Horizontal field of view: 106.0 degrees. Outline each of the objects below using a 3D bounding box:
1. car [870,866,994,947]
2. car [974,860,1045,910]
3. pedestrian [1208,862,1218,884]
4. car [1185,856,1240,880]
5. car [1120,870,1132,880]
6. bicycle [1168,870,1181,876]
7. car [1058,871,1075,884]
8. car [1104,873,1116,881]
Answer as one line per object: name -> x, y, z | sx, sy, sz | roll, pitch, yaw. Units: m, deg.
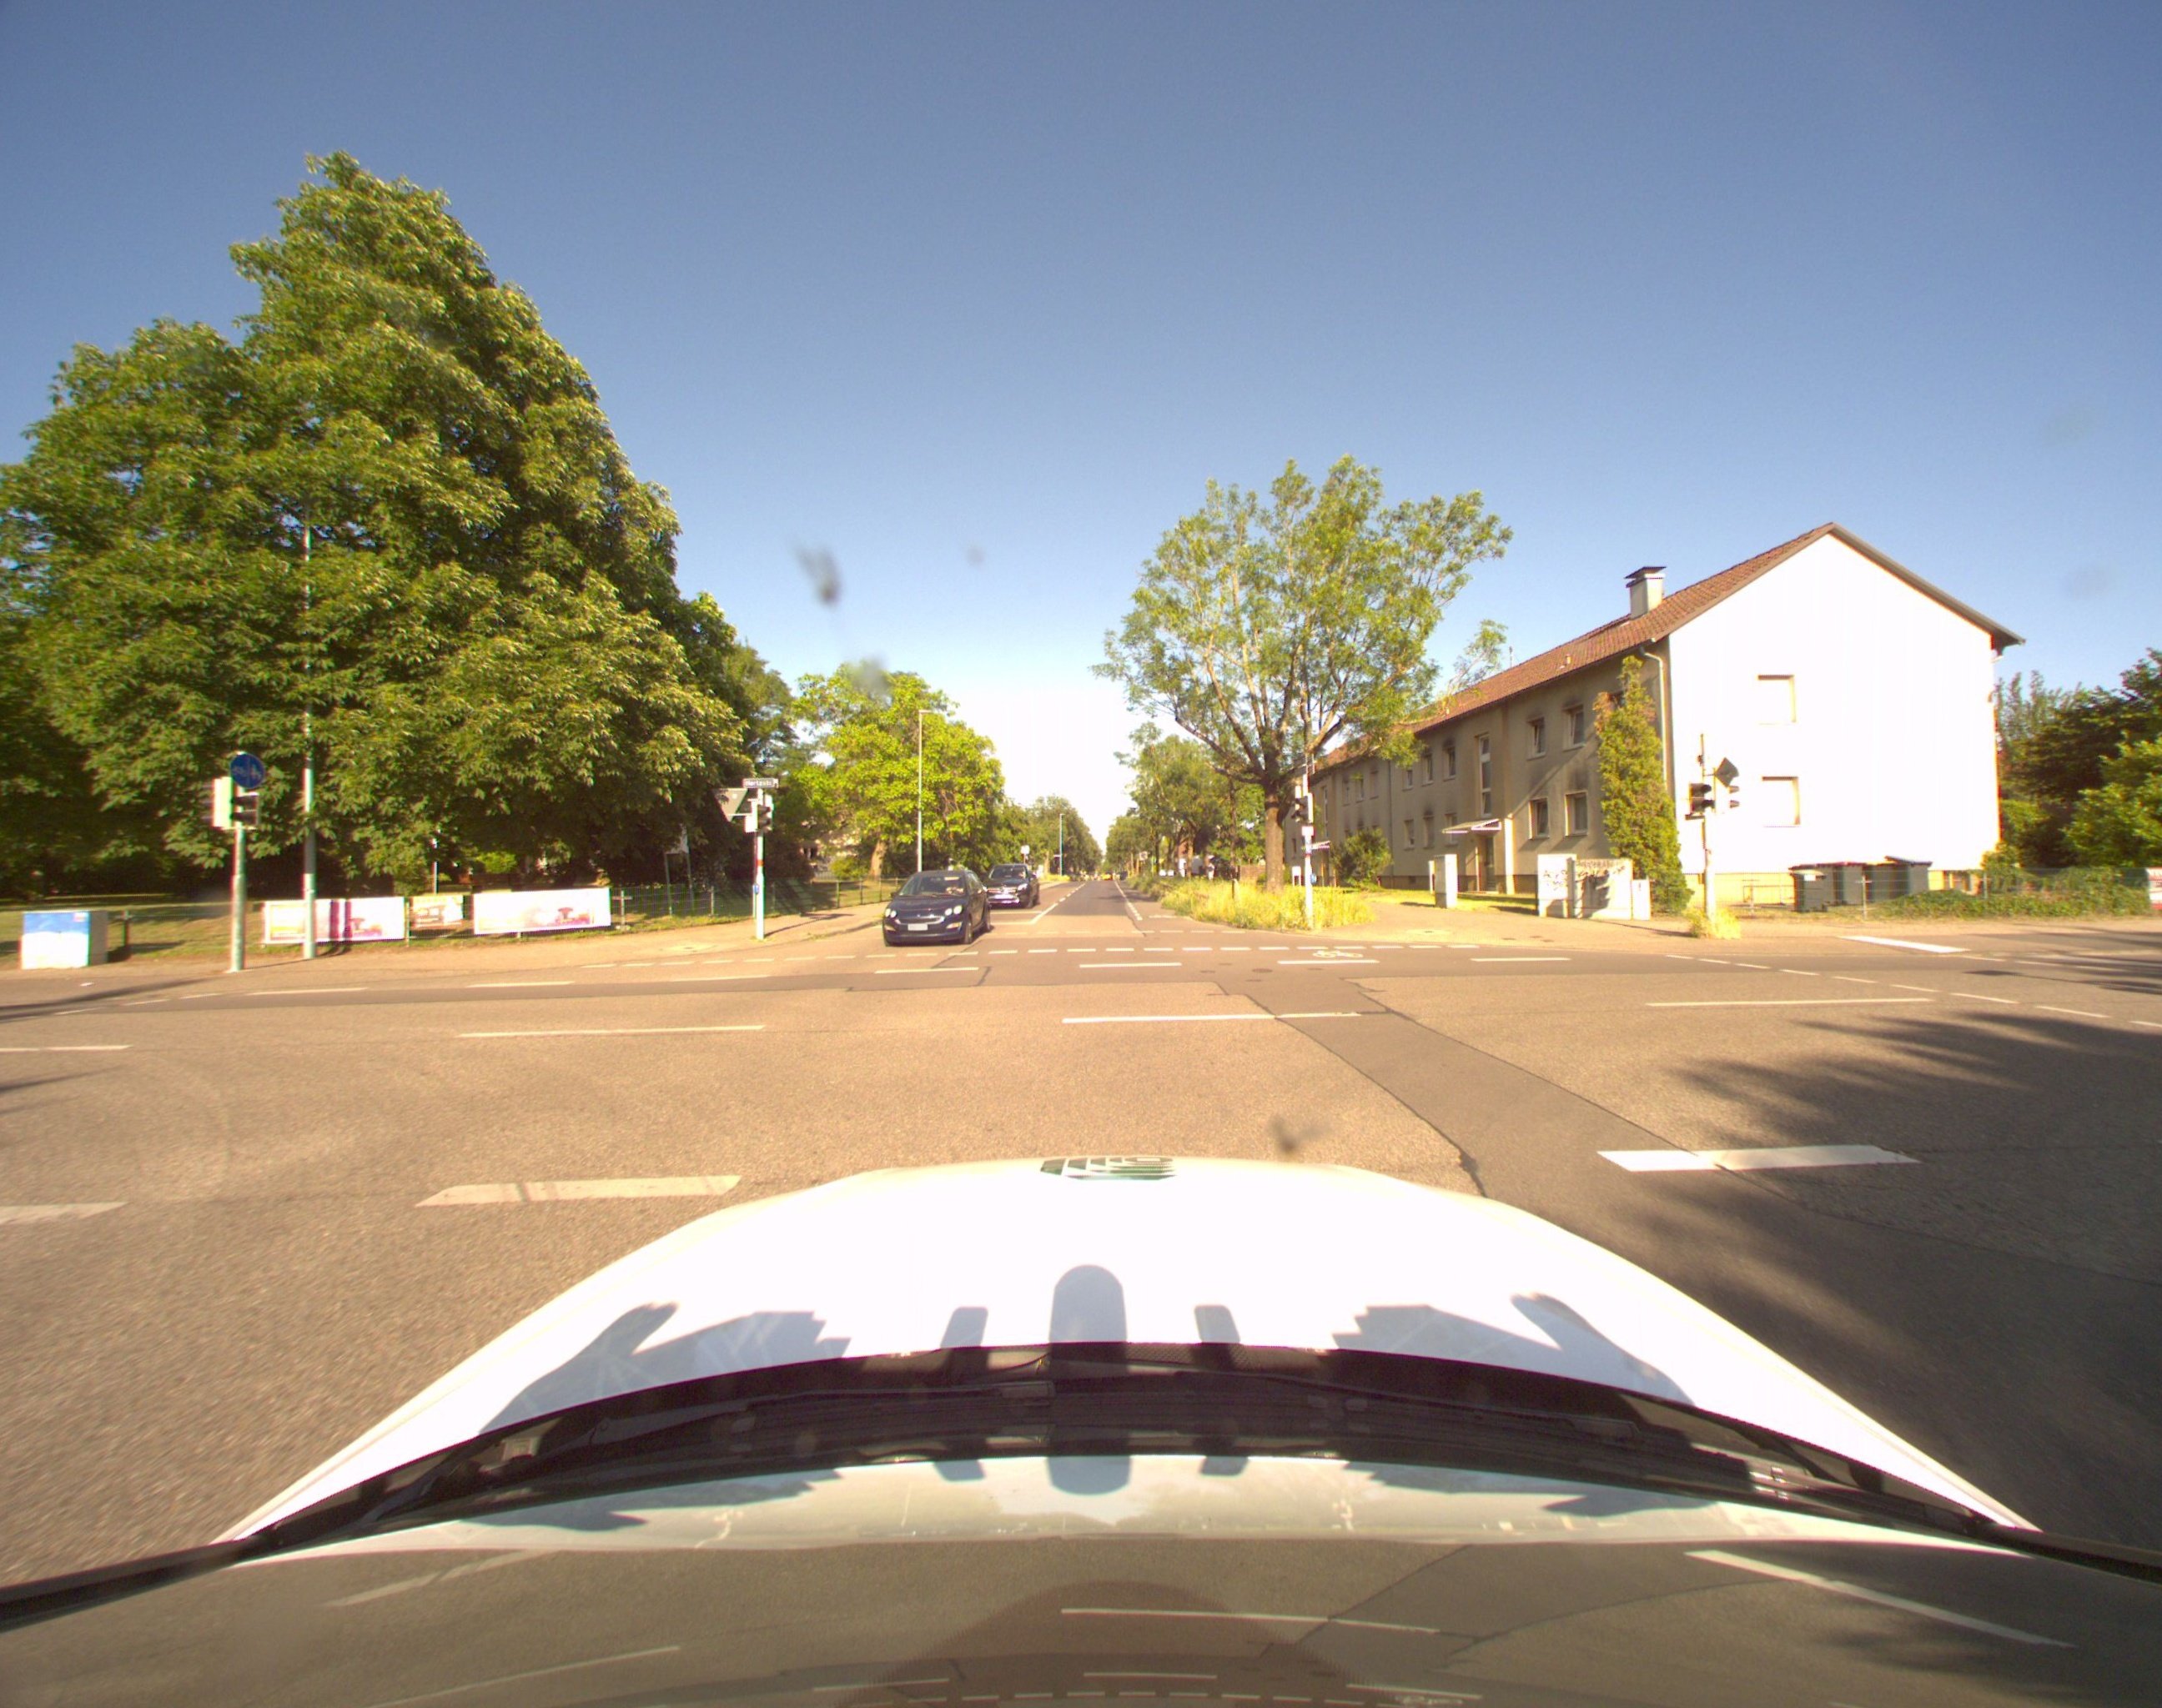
car -> -2.978, 1.040, 17.063 | 1.800, 1.455, 3.850 | -2, -2, 1
car -> -2.525, 1.081, 29.927 | 1.806, 1.618, 4.397 | -2, -1, 5
pedestrian -> 10.875, 1.556, 67.205 | 0.635, 1.706, 0.612 | -3, -1, 0
car -> 14.397, 1.523, 89.088 | 5.580, 2.539, 2.264 | -1, -1, -2
car -> 7.719, 3.674, 140.352 | 1.846, 1.626, 4.470 | -2, -2, 1
bicycle -> 14.810, 3.009, 128.878 | 1.951, 0.998, 0.576 | -2, 0, 0
car -> -1.958, 3.239, 111.555 | 1.945, 1.727, 4.877 | 1, -3, 3
car -> 5.216, 4.193, 147.032 | 1.882, 1.479, 3.885 | 2, -2, -1
